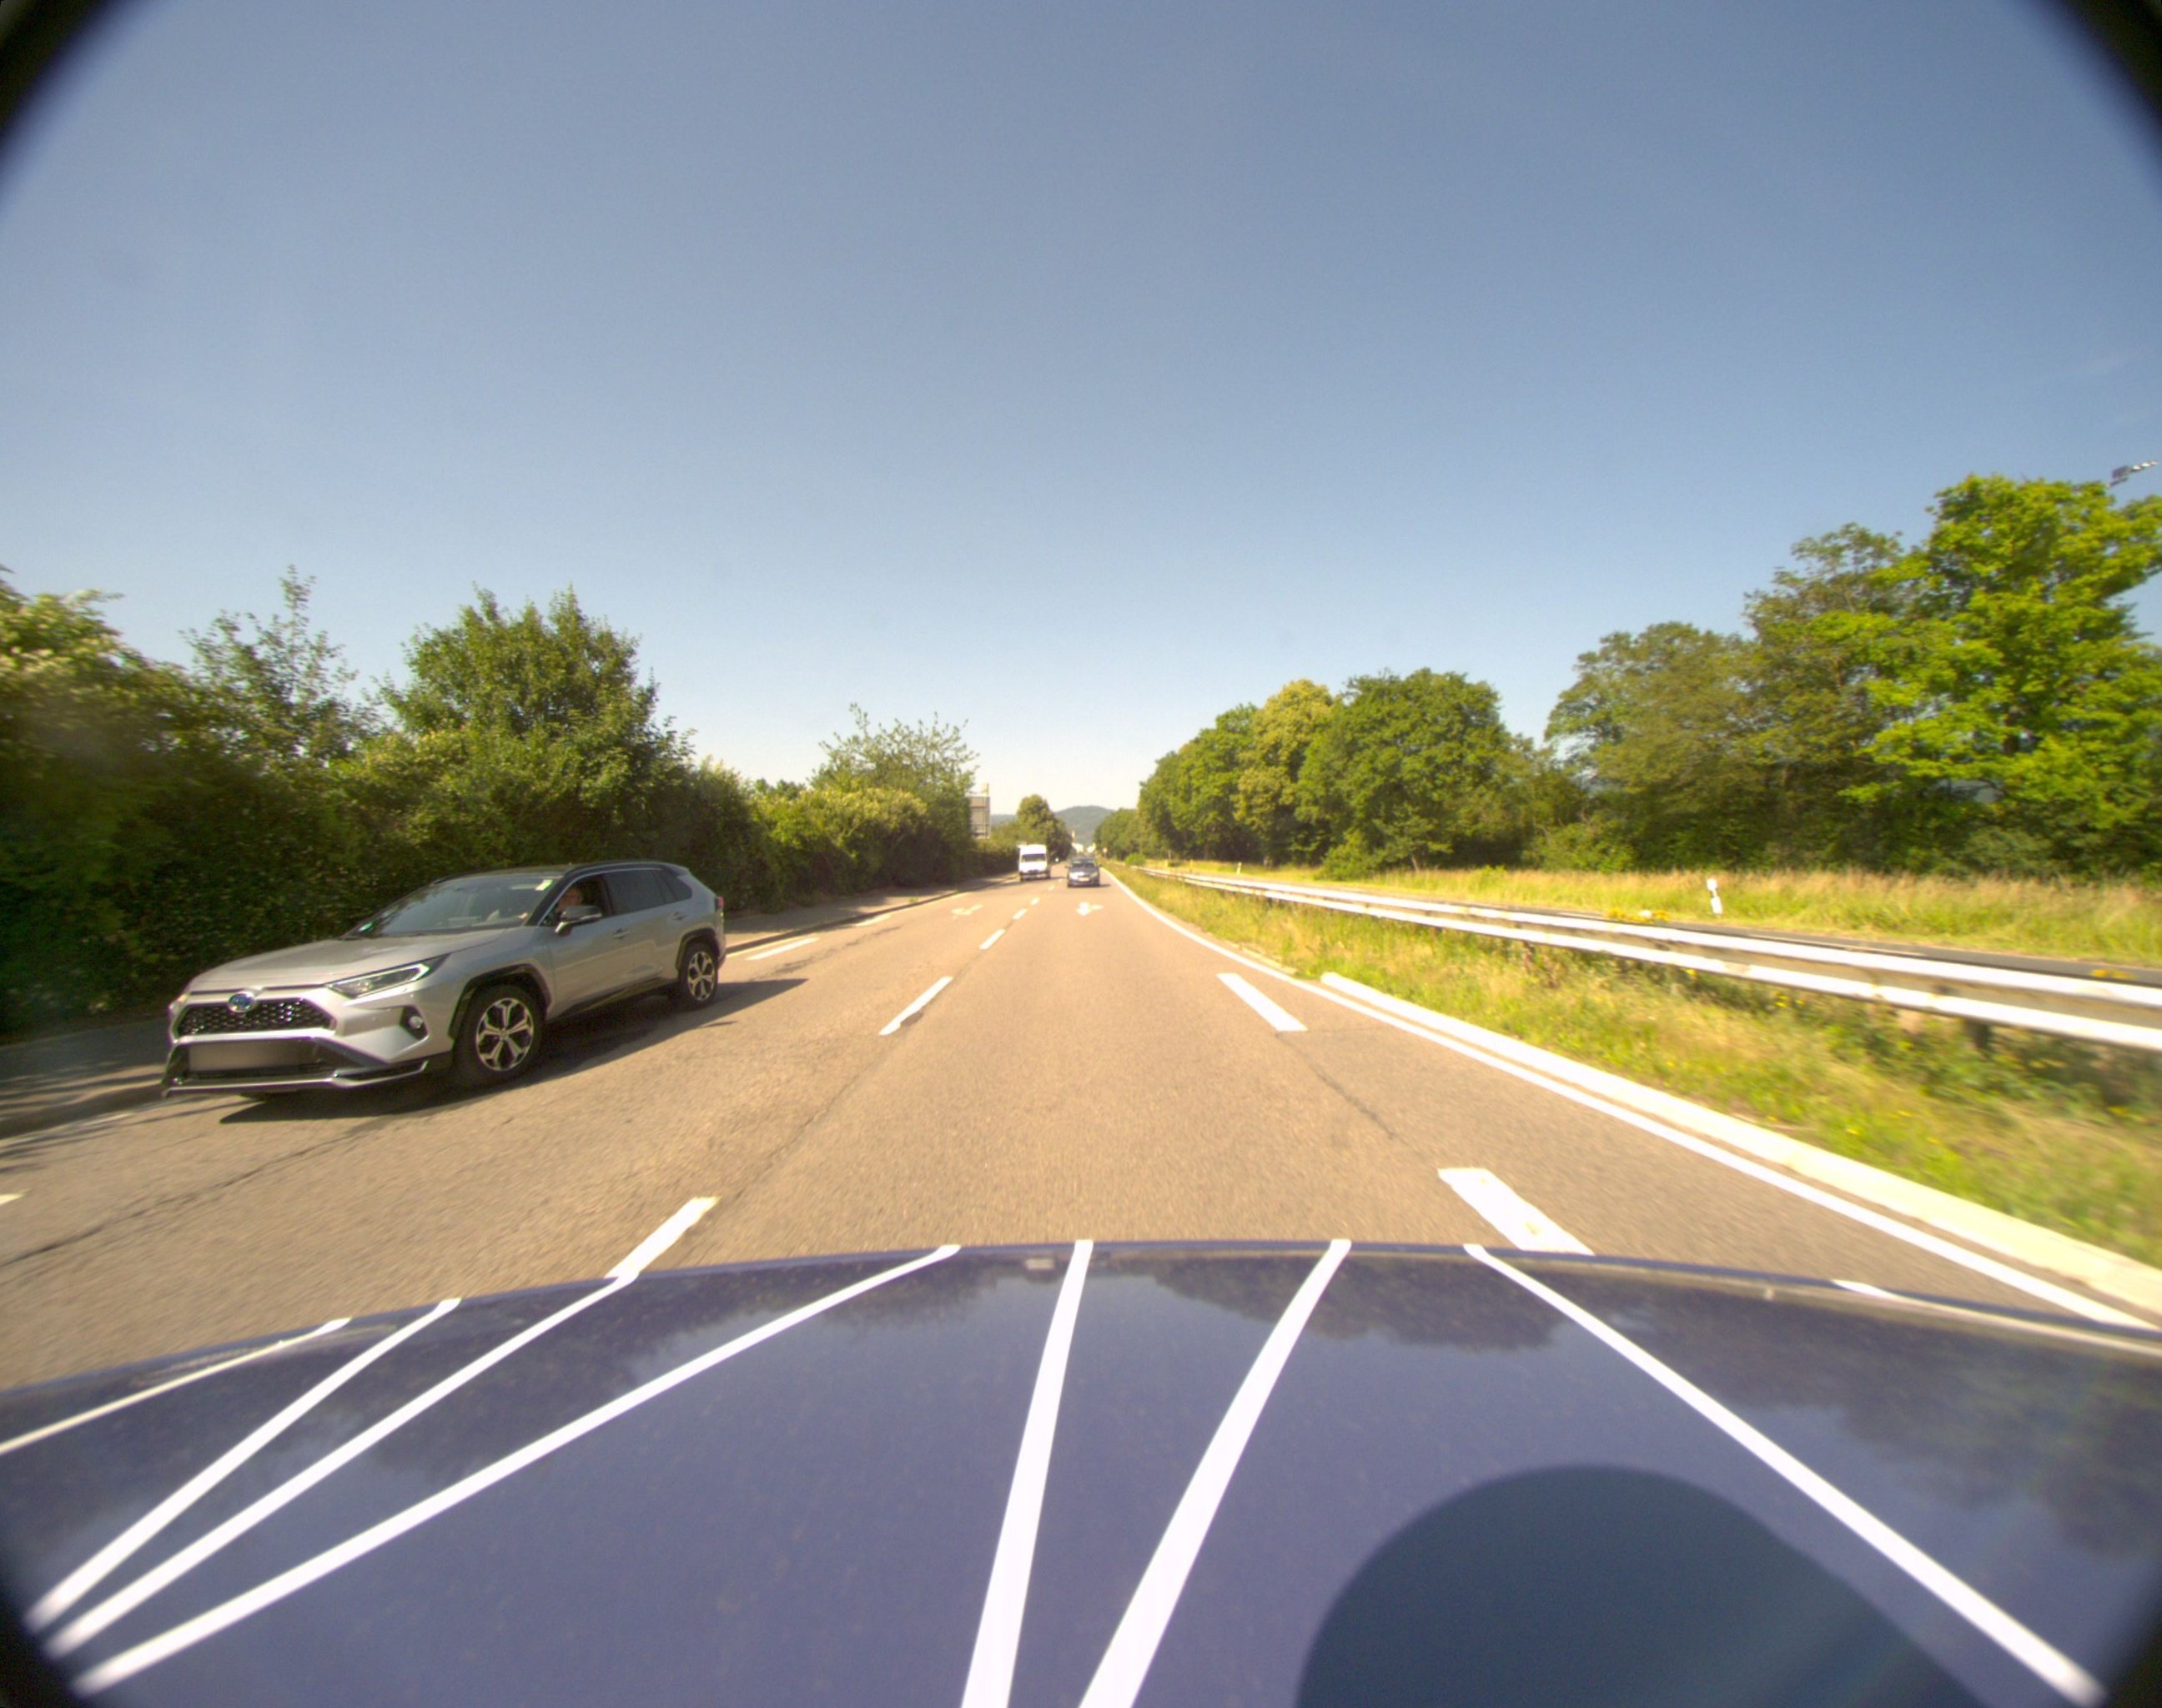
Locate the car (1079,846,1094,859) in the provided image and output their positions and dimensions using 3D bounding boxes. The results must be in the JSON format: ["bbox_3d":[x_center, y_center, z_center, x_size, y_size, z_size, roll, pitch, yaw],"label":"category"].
[{"bbox_3d":[0.587,-0.203,88.791,1.678,1.435,3.621,-2,1,0],"label":"car"}]

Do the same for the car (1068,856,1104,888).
[{"bbox_3d":[0.260,0.886,39.199,1.678,1.435,4.360,-2,1,0],"label":"car"}]

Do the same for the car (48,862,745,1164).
[{"bbox_3d":[-5.175,0.991,6.925,1.906,1.670,4.683,-3,0,2],"label":"car"}]

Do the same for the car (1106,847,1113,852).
[{"bbox_3d":[7.642,-1.230,202.942,1.783,1.521,4.162,0,1,3],"label":"car"}]

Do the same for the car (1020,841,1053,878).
[{"bbox_3d":[-3.108,0.312,54.004,1.998,2.433,5.088,-2,1,0],"label":"car"}]
